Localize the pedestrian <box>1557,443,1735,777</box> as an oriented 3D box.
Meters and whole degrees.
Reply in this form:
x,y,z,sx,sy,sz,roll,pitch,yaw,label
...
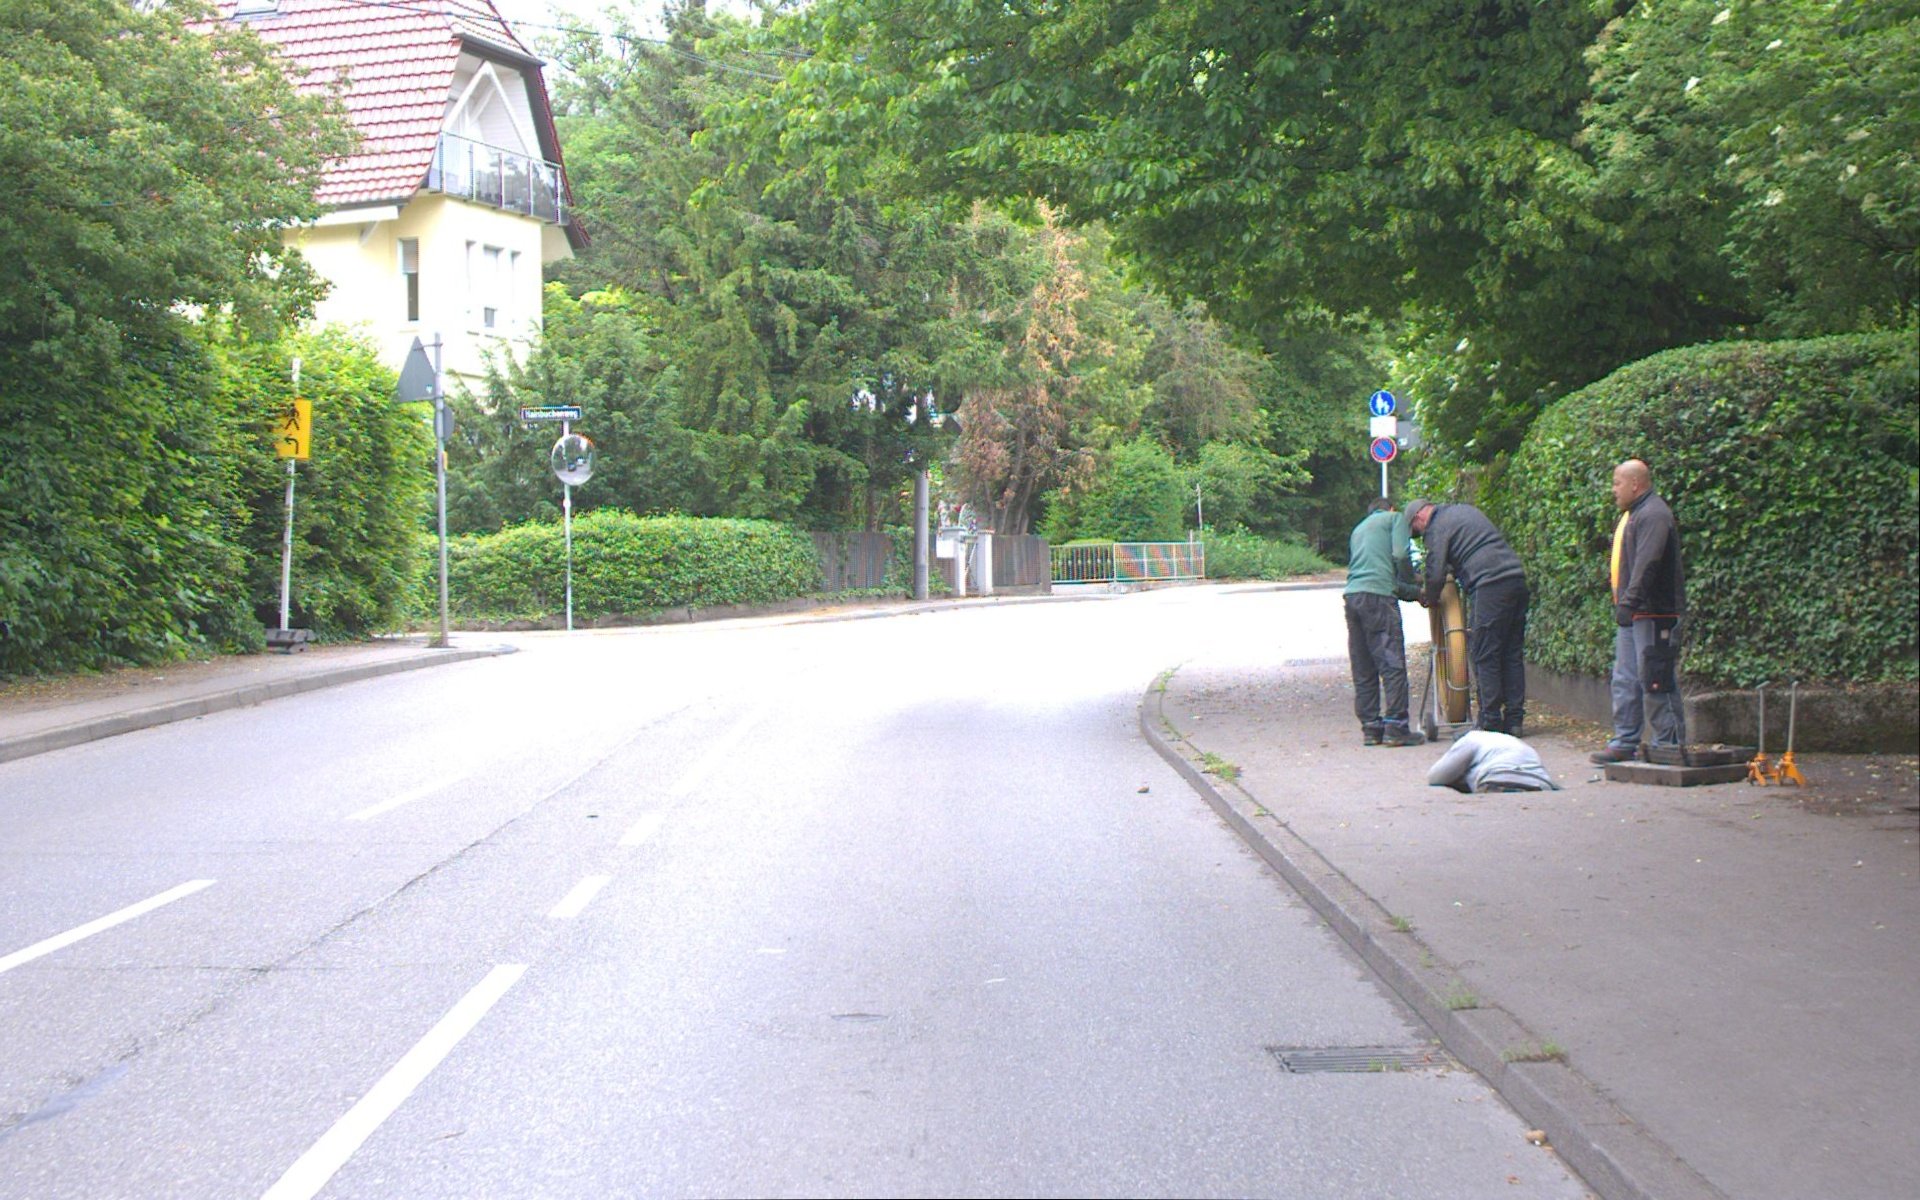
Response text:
x,y,z,sx,sy,sz,roll,pitch,yaw,label
3.786,0.049,19.018,0.807,1.801,0.741,-1,1,-1,pedestrian

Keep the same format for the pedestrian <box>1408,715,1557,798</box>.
x,y,z,sx,sy,sz,roll,pitch,yaw,label
2.796,0.835,18.438,0.672,0.392,0.741,-1,1,-1,pedestrian

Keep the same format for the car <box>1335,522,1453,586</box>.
x,y,z,sx,sy,sz,roll,pitch,yaw,label
9.972,-1.070,78.805,1.759,1.434,4.089,0,1,21,car

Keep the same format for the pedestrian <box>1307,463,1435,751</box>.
x,y,z,sx,sy,sz,roll,pitch,yaw,label
2.612,0.035,21.871,0.601,1.801,0.517,0,1,41,pedestrian

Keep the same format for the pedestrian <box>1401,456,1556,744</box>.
x,y,z,sx,sy,sz,roll,pitch,yaw,label
3.313,-0.010,21.962,0.689,1.801,0.673,-2,1,-41,pedestrian
